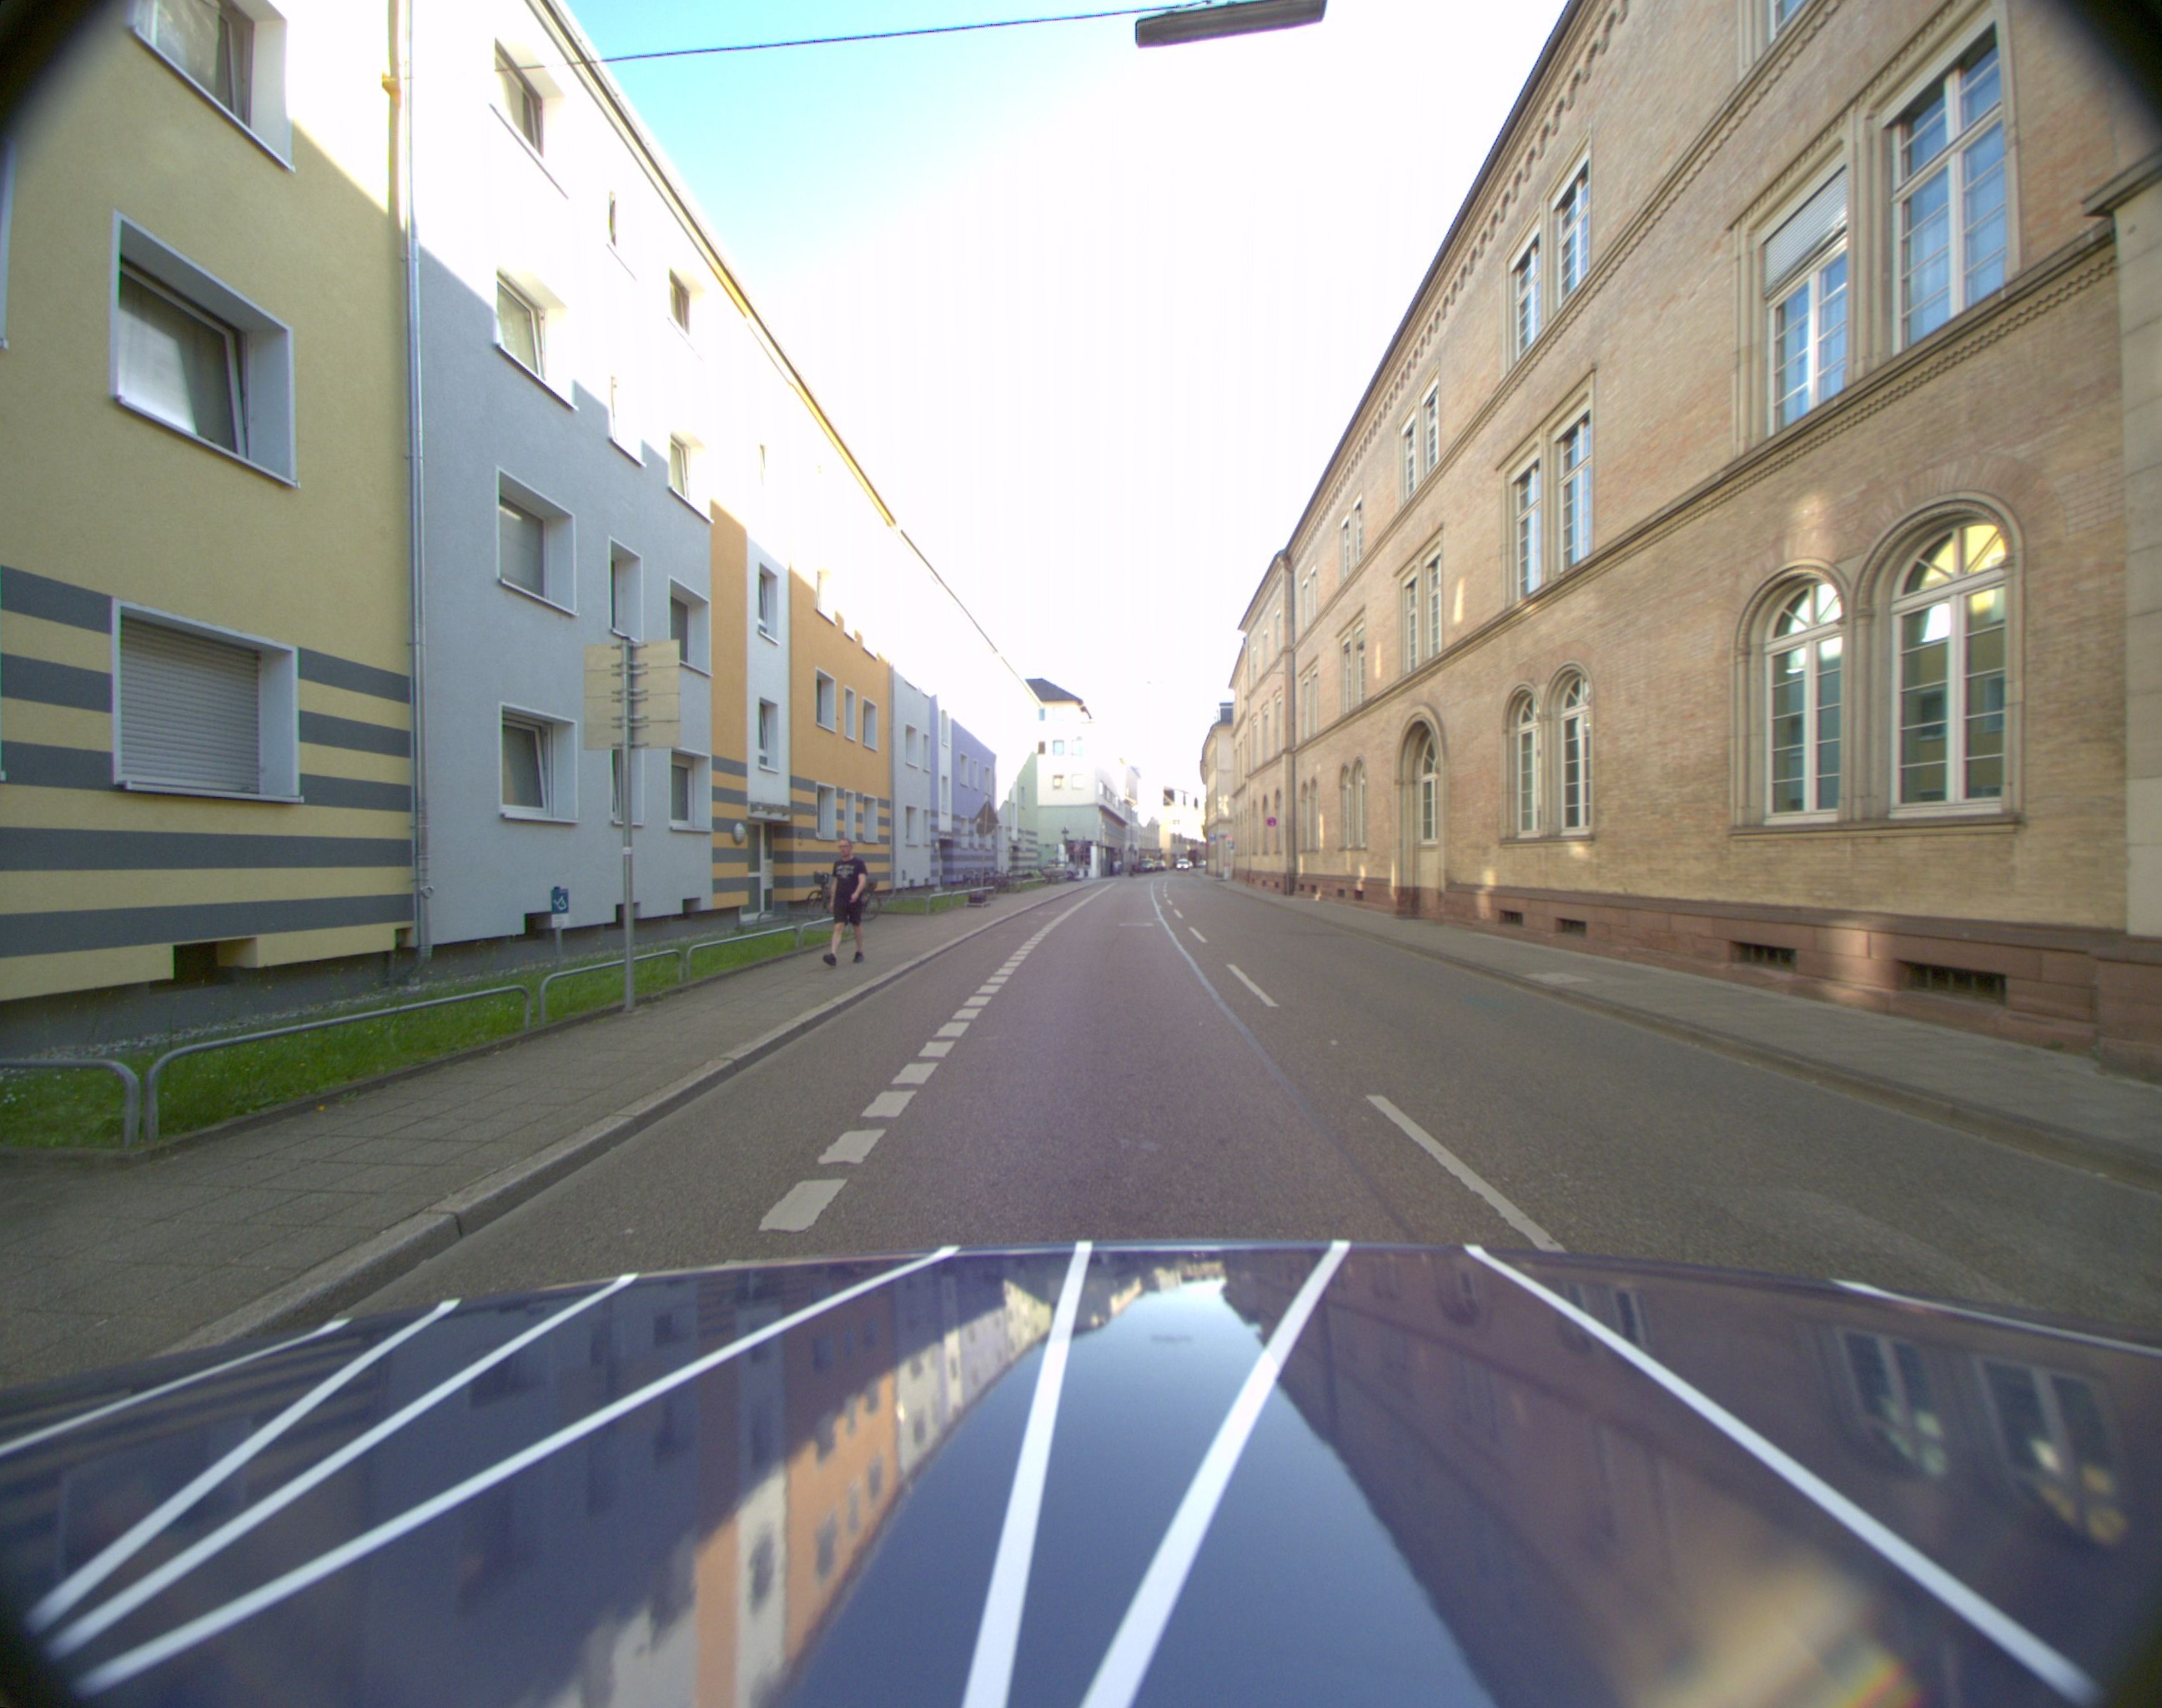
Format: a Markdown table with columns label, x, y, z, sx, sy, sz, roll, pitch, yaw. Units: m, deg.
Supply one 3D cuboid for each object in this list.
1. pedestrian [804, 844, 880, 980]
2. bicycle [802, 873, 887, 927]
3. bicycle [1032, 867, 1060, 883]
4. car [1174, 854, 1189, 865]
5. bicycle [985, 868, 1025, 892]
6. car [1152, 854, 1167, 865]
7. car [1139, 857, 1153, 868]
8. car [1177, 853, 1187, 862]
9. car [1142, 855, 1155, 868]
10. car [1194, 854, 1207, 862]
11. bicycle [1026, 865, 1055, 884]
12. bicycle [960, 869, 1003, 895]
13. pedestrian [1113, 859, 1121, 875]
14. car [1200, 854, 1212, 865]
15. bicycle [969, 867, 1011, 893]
| label | x | y | z | sx | sy | sz | roll | pitch | yaw |
| --- | --- | --- | --- | --- | --- | --- | --- | --- | --- |
| pedestrian | -3.307 | 0.774 | 10.583 | 0.646 | 1.778 | 0.916 | 3 | 1 | 4 |
| bicycle | -5.295 | 1.025 | 17.091 | 1.711 | 1.152 | 0.636 | 1 | 0 | -2 |
| bicycle | -2.182 | 1.292 | 47.567 | 1.711 | 0.972 | 0.516 | 1 | 0 | -2 |
| car | 15.729 | 0.845 | 118.860 | 1.921 | 1.712 | 4.965 | 0 | 0 | 13 |
| bicycle | -3.368 | 1.165 | 33.697 | 1.711 | 1.029 | 0.636 | 1 | 0 | -2 |
| car | 11.855 | 0.818 | 114.184 | 1.860 | 1.714 | 3.743 | 0 | 0 | 13 |
| car | 8.623 | 1.168 | 100.760 | 1.634 | 1.405 | 3.687 | 0 | 0 | 8 |
| car | 19.882 | 0.704 | 149.558 | 1.534 | 1.714 | 3.743 | 0 | 0 | 16 |
| car | 9.448 | 1.059 | 106.035 | 1.535 | 1.714 | 3.741 | 0 | 0 | 8 |
| car | 25.722 | 0.901 | 163.486 | 1.925 | 1.714 | 4.236 | 0 | 0 | 19 |
| bicycle | -2.430 | 1.248 | 46.107 | 1.711 | 1.097 | 0.584 | 1 | 0 | -2 |
| bicycle | -4.158 | 1.152 | 31.844 | 1.710 | 1.039 | 0.636 | 1 | 0 | 2 |
| pedestrian | 3.365 | 1.182 | 71.155 | 0.707 | 1.510 | 0.662 | -1 | 0 | 11 |
| car | 19.835 | 0.874 | 120.352 | 1.662 | 1.714 | 3.743 | 0 | 0 | 14 |
| bicycle | -3.957 | 1.114 | 32.987 | 1.710 | 1.075 | 0.636 | 1 | 0 | 1 |
